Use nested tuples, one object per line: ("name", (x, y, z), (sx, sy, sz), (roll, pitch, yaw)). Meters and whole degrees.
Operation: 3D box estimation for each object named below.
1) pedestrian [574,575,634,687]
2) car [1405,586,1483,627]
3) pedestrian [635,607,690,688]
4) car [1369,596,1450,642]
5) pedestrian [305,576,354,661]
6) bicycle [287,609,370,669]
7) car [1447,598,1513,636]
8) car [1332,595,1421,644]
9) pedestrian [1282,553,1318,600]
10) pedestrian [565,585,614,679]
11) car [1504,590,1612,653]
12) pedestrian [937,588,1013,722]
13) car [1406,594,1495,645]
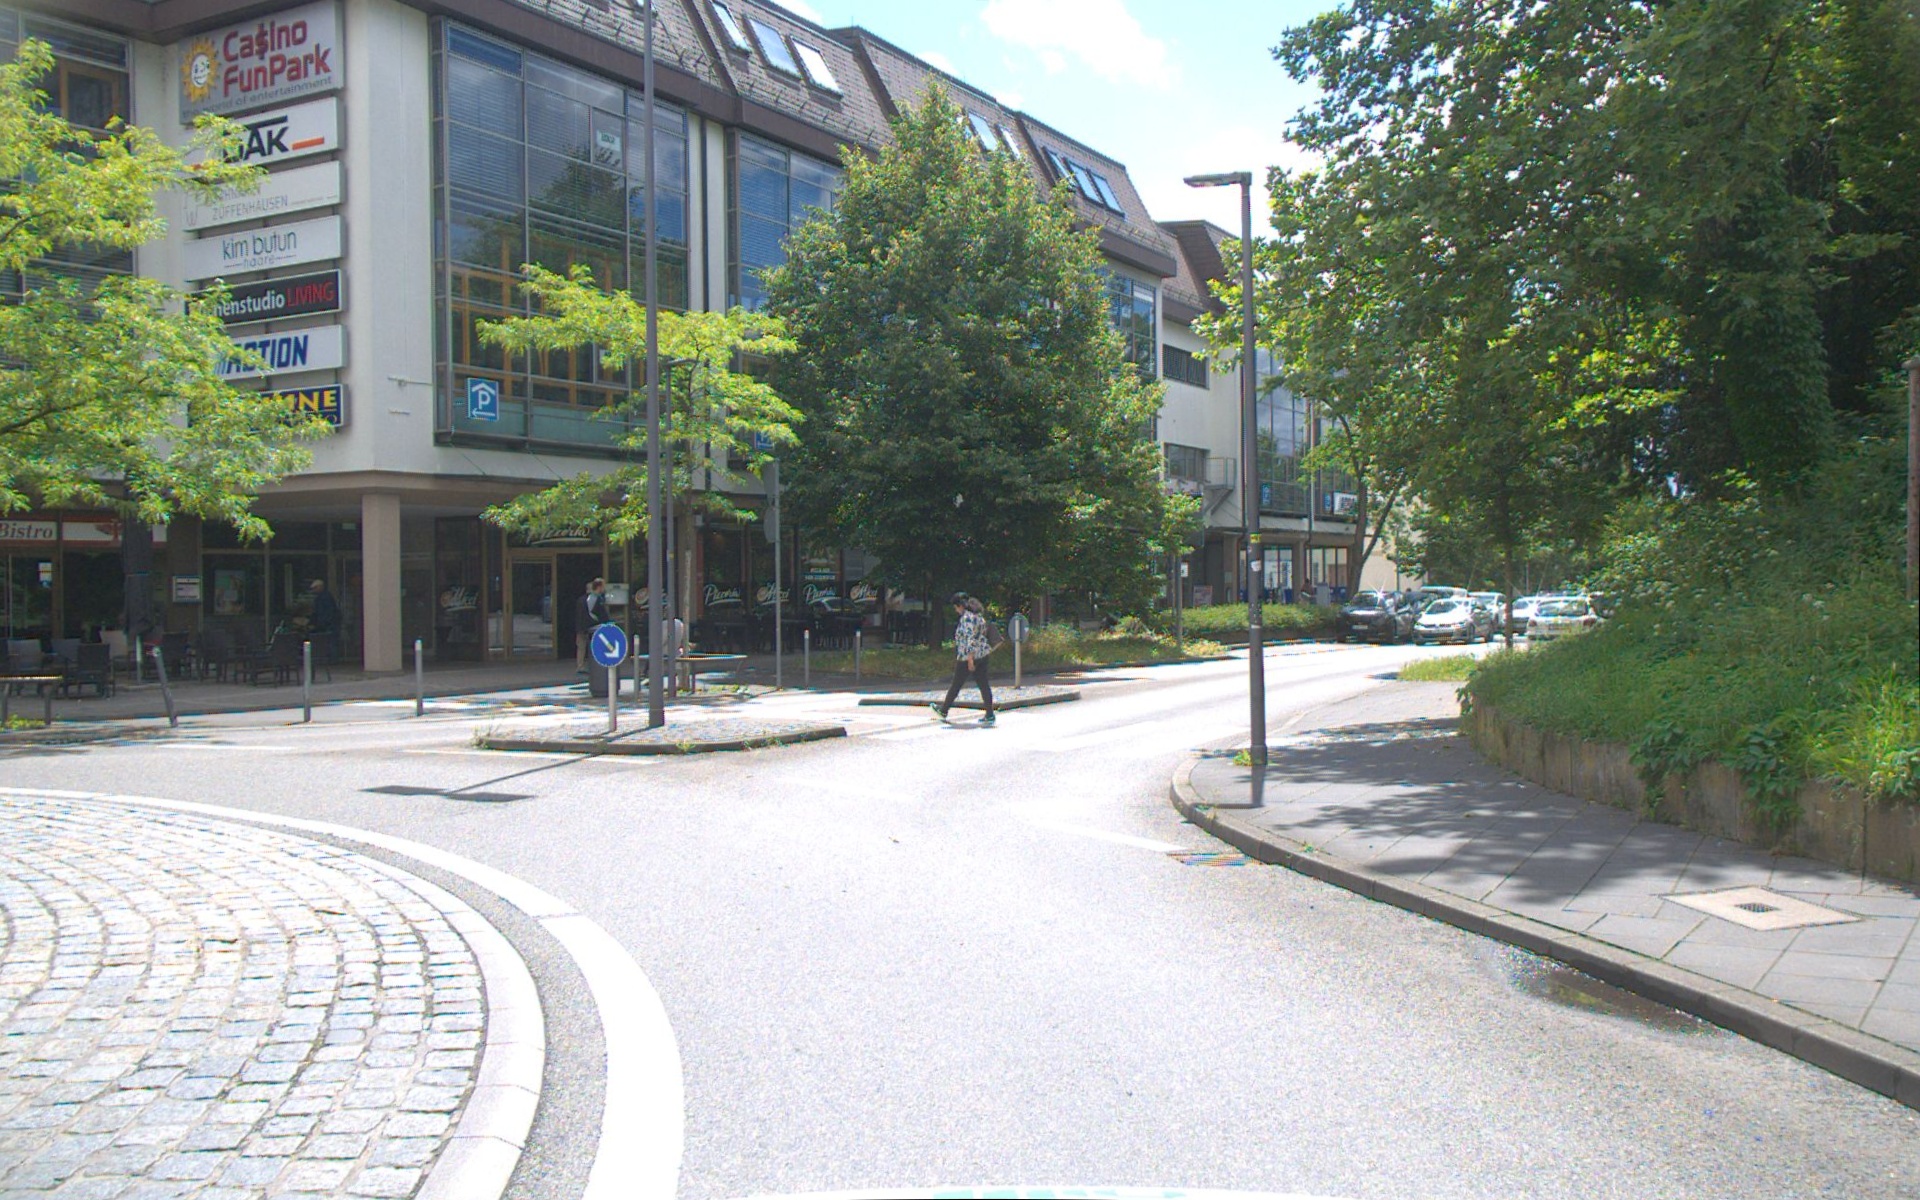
("pedestrian", (-6.070, 0.518, 28.211), (0.683, 1.849, 0.616), (0, 4, 34))
("car", (19.068, 0.233, 65.051), (1.956, 1.534, 4.577), (1, 0, 29))
("pedestrian", (-4.960, 0.779, 27.595), (0.685, 1.307, 0.614), (1, 0, 41))
("car", (16.187, 0.648, 59.421), (1.955, 1.534, 4.580), (1, 0, 26))
("pedestrian", (-12.773, 0.365, 33.492), (0.603, 1.704, 0.697), (0, 0, 28))
("bicycle", (-12.692, 0.778, 33.250), (1.514, 1.188, 0.493), (0, -1, -18))
("car", (22.137, 0.705, 70.301), (1.955, 1.534, 4.580), (1, 0, 26))
("car", (13.890, 0.601, 54.989), (1.955, 1.534, 4.580), (1, 0, 26))
("pedestrian", (15.071, -1.044, 73.229), (1.318, 2.049, 1.087), (0, -1, 27))
("pedestrian", (-6.838, 0.584, 30.538), (0.602, 1.704, 0.698), (0, 0, 16))
("car", (14.552, 0.501, 40.134), (1.719, 1.353, 3.992), (-3, -1, 31))
("pedestrian", (0.175, 0.651, 19.965), (0.750, 1.581, 0.776), (0, 0, -14))
("car", (15.704, 0.592, 52.819), (1.955, 1.534, 4.580), (0, 0, 26))
